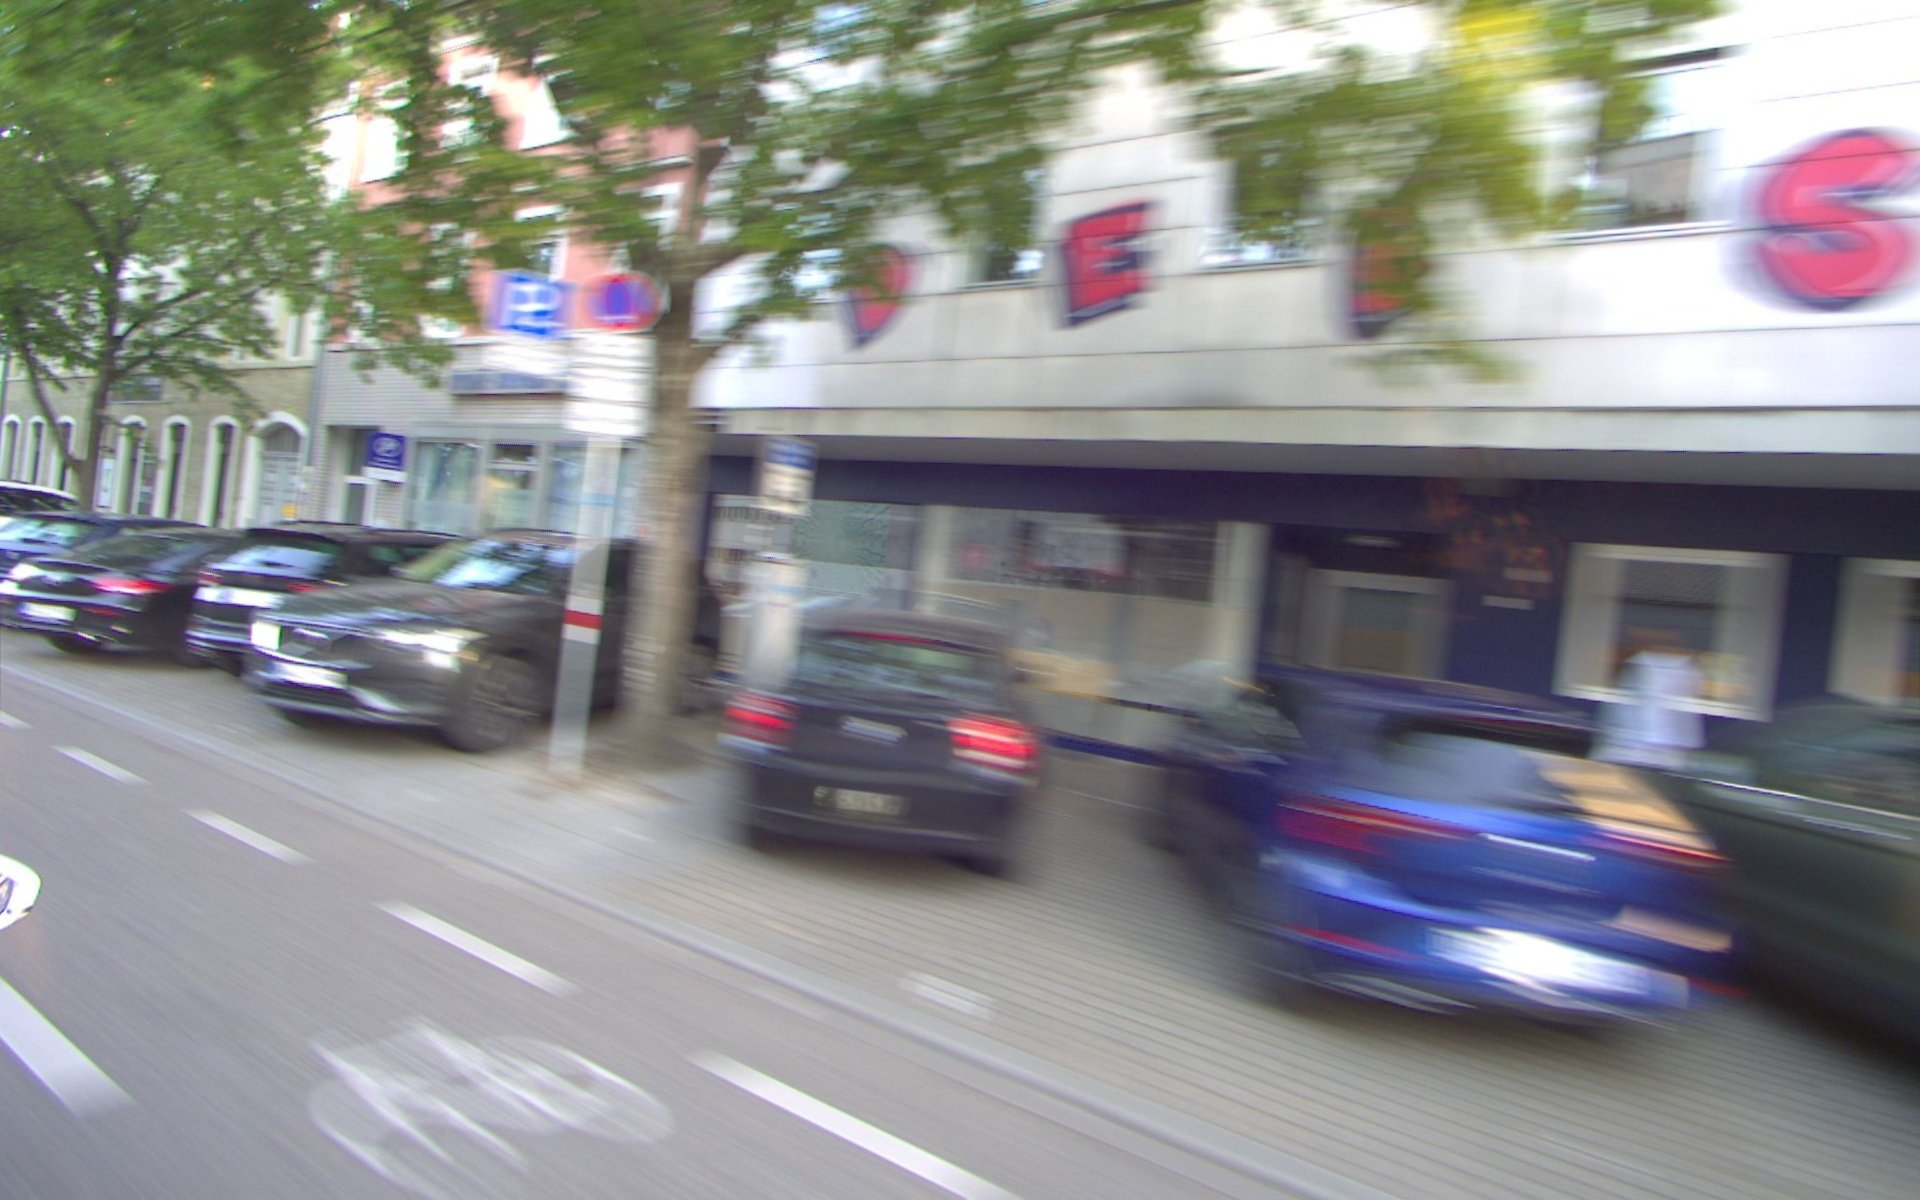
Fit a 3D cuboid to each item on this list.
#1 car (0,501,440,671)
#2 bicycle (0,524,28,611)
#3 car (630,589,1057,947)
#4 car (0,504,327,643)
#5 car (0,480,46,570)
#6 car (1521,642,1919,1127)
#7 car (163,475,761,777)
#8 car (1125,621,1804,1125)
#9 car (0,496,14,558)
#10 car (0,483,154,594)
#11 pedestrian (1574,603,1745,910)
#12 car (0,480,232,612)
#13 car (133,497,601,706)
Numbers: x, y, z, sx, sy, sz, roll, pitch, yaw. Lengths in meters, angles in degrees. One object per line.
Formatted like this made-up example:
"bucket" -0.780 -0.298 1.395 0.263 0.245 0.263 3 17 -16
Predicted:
"car" -8.332 -0.161 11.545 1.938 1.445 4.225 6 1 10
"bicycle" -12.915 -0.441 12.550 0.488 1.117 1.840 7 2 18
"car" -0.415 0.769 6.870 1.934 1.484 4.166 6 1 4
"car" -10.473 -0.345 13.084 1.694 1.445 3.758 6 1 8
"car" -20.786 -1.657 19.547 1.970 1.829 4.160 6 0 4
"car" 4.612 1.246 4.309 1.808 1.686 4.163 6 1 -2
"car" -4.008 0.156 9.360 2.166 1.850 4.978 6 1 14
"car" 2.150 1.045 5.633 1.779 1.522 3.891 6 1 2
"car" -23.175 -1.770 21.349 1.772 1.407 4.323 6 1 7
"car" -16.529 -1.144 16.542 1.972 1.710 4.656 7 1 27
"pedestrian" 5.008 1.073 7.268 0.773 2.012 0.692 7 3 32
"car" -13.755 -0.859 14.649 1.974 1.710 4.651 7 1 31
"car" -6.098 -0.001 11.044 1.938 1.670 4.224 6 1 14
